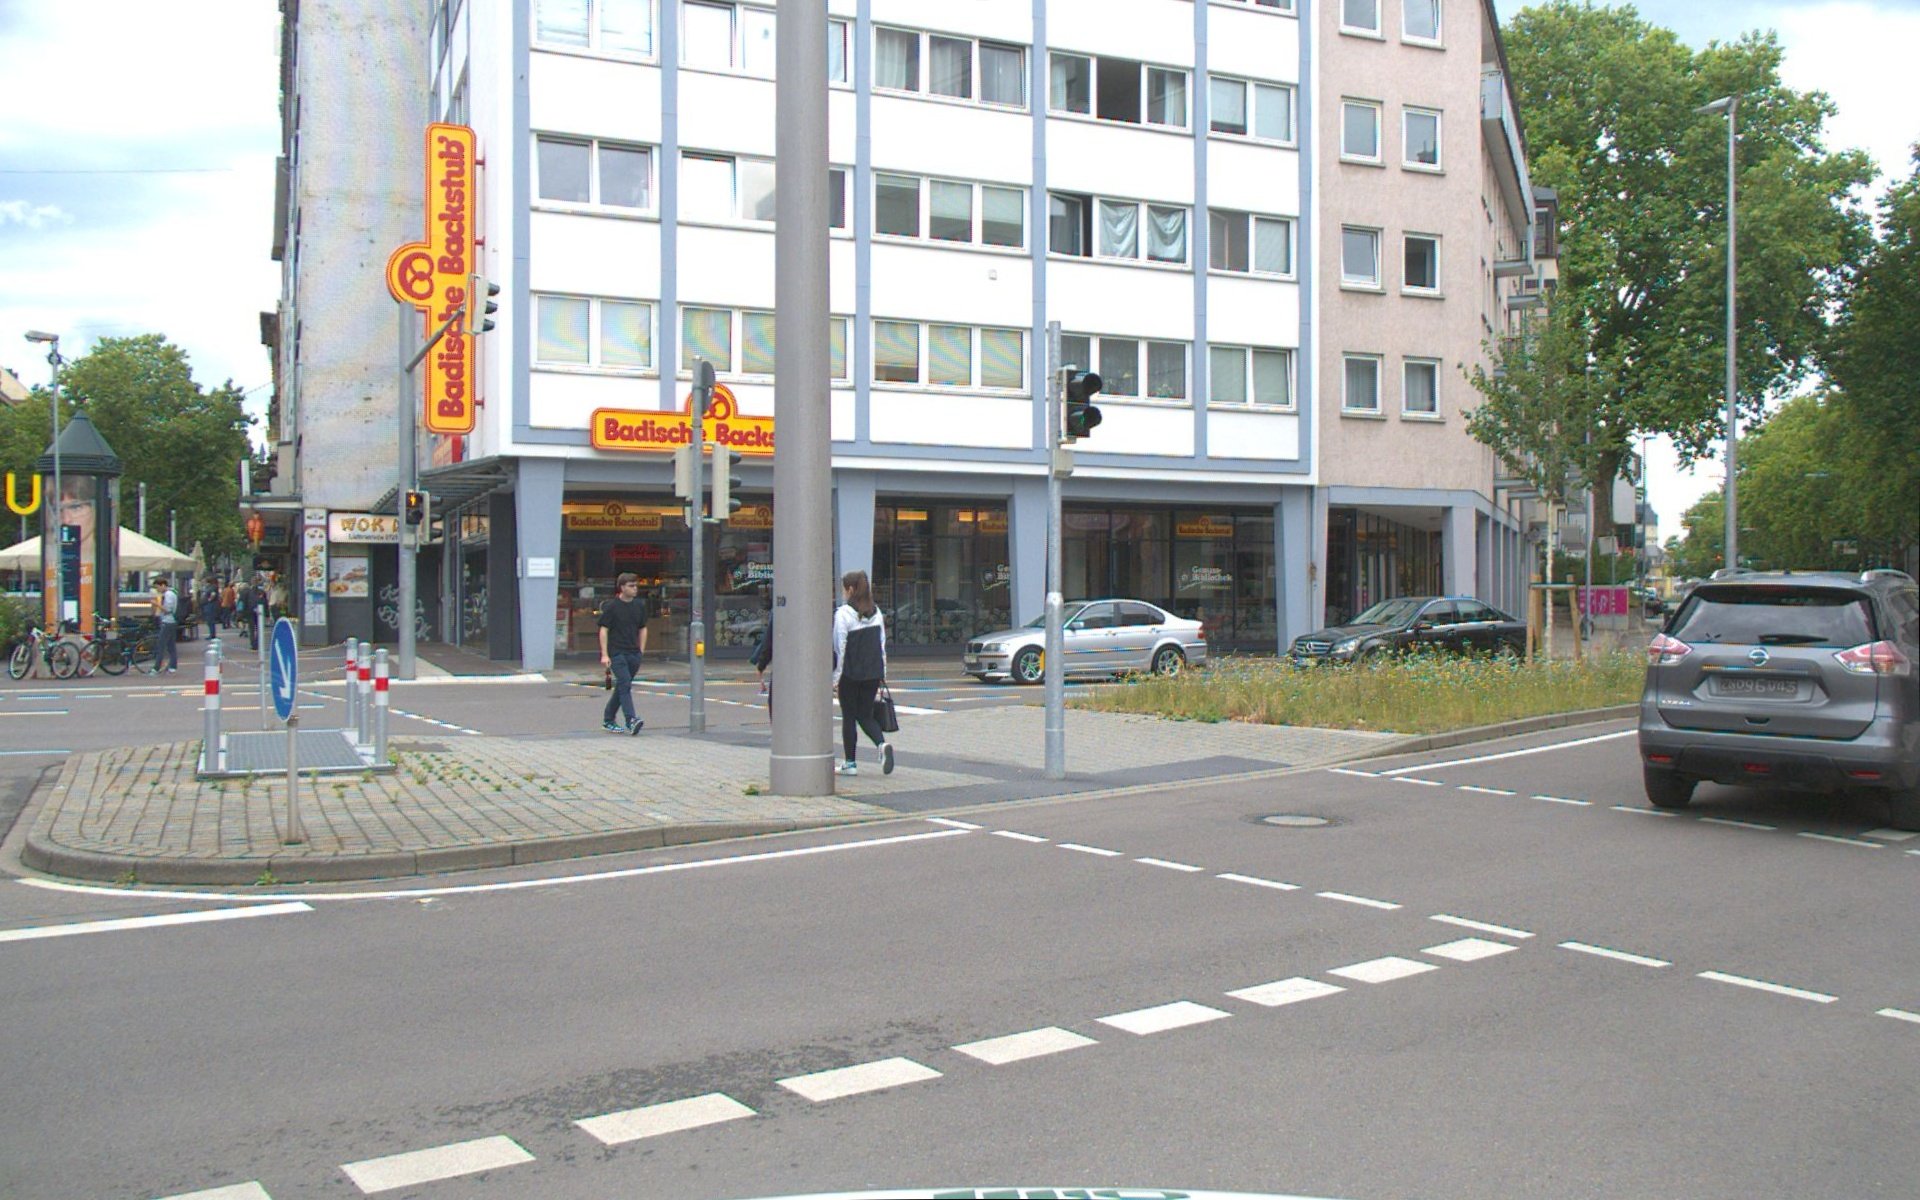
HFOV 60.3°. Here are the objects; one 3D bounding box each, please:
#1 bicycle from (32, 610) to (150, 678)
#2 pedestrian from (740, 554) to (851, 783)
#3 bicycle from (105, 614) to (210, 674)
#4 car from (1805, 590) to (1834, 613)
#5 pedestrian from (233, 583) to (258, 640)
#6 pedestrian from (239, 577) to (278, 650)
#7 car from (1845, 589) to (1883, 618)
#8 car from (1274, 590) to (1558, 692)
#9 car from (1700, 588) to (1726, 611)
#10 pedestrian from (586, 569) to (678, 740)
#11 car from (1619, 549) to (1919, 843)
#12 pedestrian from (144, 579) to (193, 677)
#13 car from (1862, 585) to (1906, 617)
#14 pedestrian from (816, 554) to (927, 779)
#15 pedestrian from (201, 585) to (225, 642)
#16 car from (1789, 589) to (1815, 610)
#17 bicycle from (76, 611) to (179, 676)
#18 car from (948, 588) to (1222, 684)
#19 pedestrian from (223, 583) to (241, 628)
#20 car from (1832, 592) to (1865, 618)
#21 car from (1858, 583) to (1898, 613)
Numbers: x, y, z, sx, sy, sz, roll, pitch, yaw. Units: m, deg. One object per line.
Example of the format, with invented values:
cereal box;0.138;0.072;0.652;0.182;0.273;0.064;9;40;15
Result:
bicycle;-15.867;0.800;30.225;1.853;1.192;0.524;1;-1;-38
pedestrian;-1.342;0.540;13.446;0.615;1.792;0.772;1;-1;-31
bicycle;-14.847;0.818;30.619;1.669;1.084;0.435;1;-1;-17
car;70.922;0.106;136.452;1.826;1.805;3.982;1;1;24
pedestrian;-23.248;0.370;53.801;0.728;1.853;0.657;0;0;-25
pedestrian;-16.885;0.334;39.822;0.697;1.735;0.732;1;-1;-11
car;60.223;0.219;110.227;1.826;1.805;3.982;1;1;24
car;7.506;0.626;27.156;4.495;1.507;1.734;-1;0;-26
car;60.286;-0.064;132.391;1.826;1.805;3.982;1;1;24
pedestrian;-3.697;0.598;18.608;0.705;1.864;1.006;1;-1;-31
car;6.615;0.553;12.510;1.833;1.805;4.546;1;1;38
pedestrian;-14.538;0.505;30.372;0.724;1.776;0.656;1;-1;-31
car;53.643;0.032;96.023;1.826;1.805;3.982;1;1;24
pedestrian;-0.743;0.535;13.723;0.615;1.792;0.772;1;-1;-31
pedestrian;-23.169;0.412;51.309;0.634;1.735;0.555;1;-1;-22
car;75.097;-0.060;147.552;1.826;1.805;3.982;1;1;24
bicycle;-15.607;0.808;31.019;1.678;1.192;0.433;1;-1;-30
car;2.180;0.578;28.598;4.495;1.507;1.734;-1;0;-26
pedestrian;-27.942;0.214;63.497;0.603;1.735;0.615;1;-1;-22
car;65.342;0.326;121.649;1.826;1.805;3.982;1;1;24
car;58.442;-0.167;105.296;1.826;1.805;3.982;1;1;24
